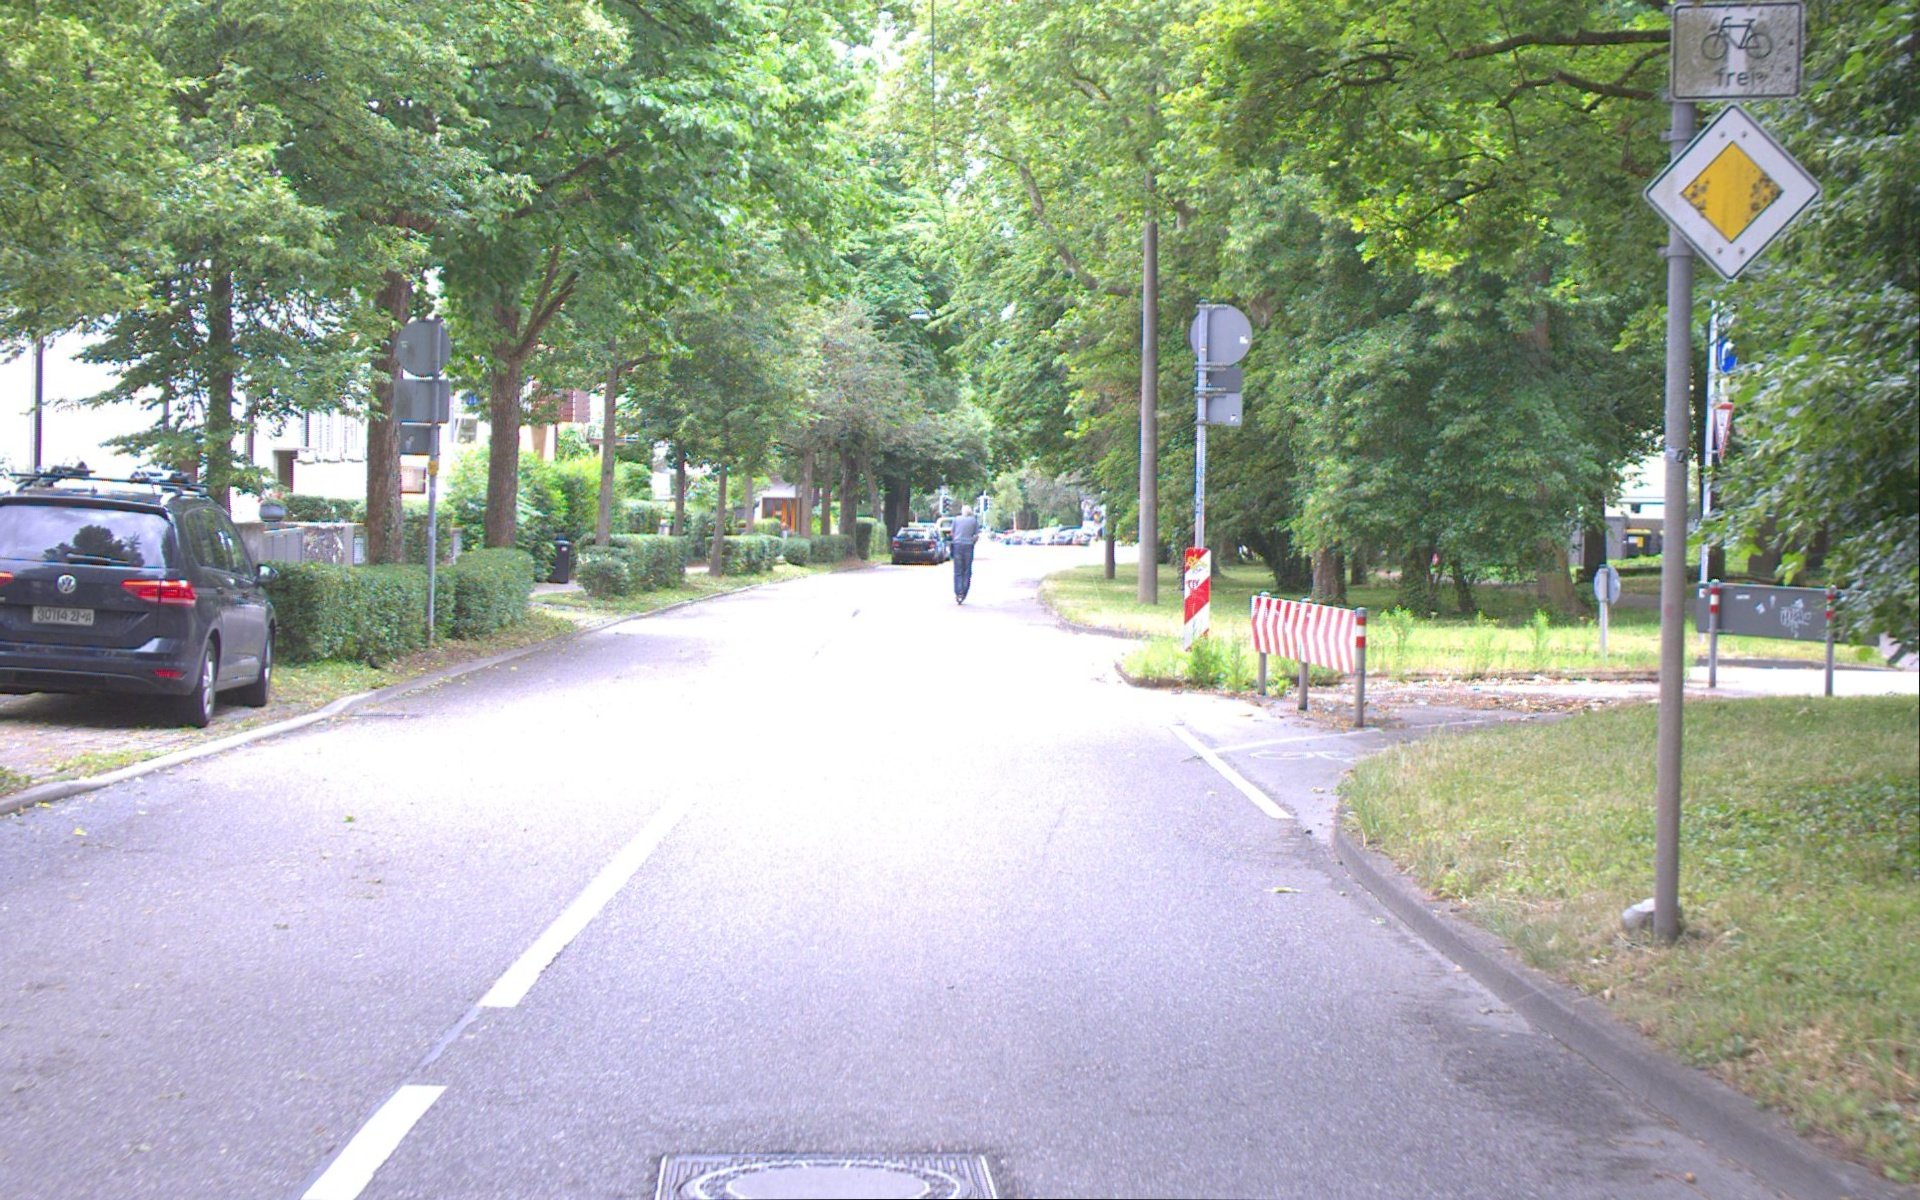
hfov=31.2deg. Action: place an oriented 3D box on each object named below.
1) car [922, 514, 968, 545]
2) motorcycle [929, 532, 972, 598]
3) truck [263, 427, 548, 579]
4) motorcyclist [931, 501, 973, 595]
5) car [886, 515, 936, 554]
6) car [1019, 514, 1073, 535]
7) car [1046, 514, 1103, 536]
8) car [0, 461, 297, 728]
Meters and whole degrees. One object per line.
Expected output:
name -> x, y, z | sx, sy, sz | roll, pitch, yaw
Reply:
car -> -0.689, -3.328, 163.742 | 1.892, 1.405, 4.553 | 1, 1, 4
motorcycle -> -0.179, -0.676, 65.251 | 0.673, 1.213, 1.273 | 3, 1, 4
truck -> -12.158, -2.122, 75.654 | 5.796, 3.120, 2.518 | 2, 1, 0
motorcyclist -> -0.155, -0.984, 65.393 | 0.673, 1.755, 0.639 | 3, 1, 4
car -> -1.869, -2.525, 132.939 | 1.794, 1.467, 4.418 | 1, 1, 1
car -> 6.422, -5.666, 257.496 | 3.987, 1.505, 1.800 | 1, 1, 1
car -> 8.140, -5.339, 244.761 | 3.987, 1.505, 1.800 | 1, 1, 1
car -> -6.123, -0.100, 25.296 | 1.824, 1.748, 4.454 | 2, 1, -3
